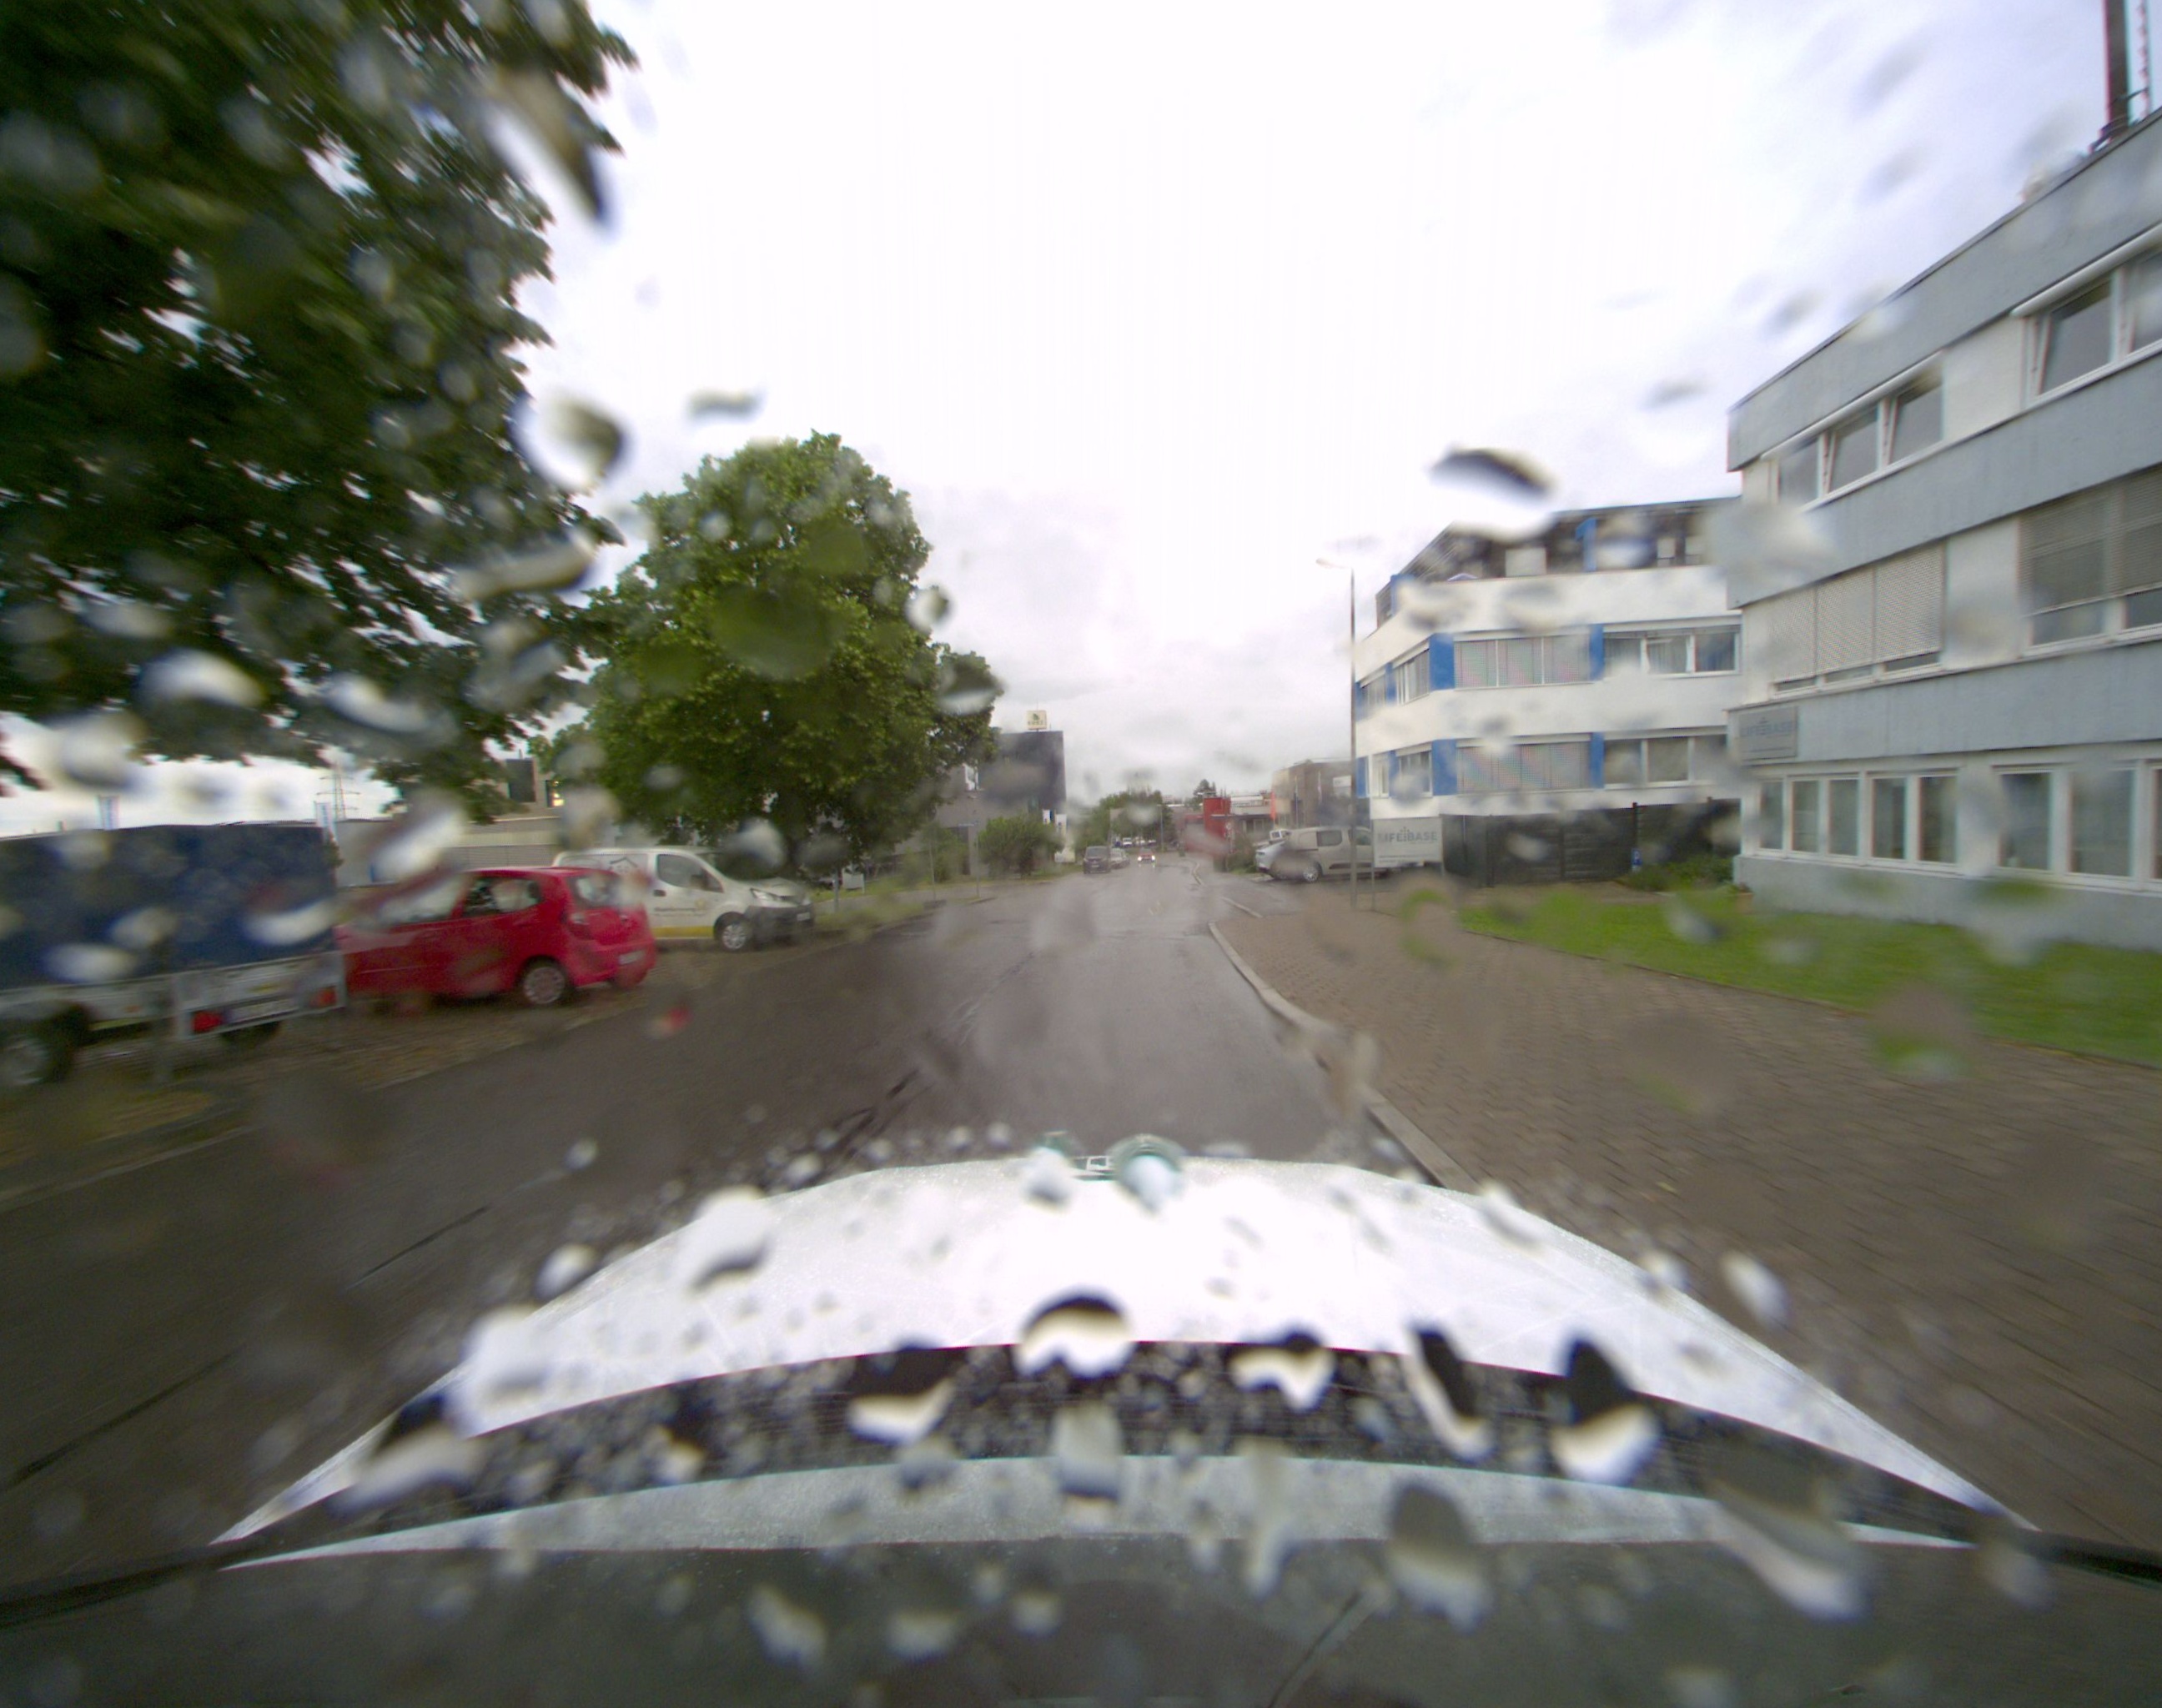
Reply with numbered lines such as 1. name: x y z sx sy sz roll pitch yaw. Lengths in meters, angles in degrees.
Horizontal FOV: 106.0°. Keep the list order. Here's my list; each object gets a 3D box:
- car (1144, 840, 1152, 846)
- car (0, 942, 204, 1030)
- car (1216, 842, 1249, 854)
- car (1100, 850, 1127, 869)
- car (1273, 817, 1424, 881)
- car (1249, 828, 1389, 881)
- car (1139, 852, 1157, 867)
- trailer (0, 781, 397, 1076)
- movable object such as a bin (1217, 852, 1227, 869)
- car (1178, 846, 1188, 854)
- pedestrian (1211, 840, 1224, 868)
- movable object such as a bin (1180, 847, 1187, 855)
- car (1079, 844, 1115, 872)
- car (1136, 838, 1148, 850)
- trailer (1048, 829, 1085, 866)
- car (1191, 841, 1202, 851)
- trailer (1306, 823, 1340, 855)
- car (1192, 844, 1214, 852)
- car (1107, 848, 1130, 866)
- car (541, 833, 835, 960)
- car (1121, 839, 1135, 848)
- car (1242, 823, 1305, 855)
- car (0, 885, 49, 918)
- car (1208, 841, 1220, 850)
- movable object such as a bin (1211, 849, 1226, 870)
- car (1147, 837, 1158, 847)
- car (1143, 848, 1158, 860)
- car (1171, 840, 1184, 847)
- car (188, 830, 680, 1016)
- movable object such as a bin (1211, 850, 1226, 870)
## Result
1. car: 15.627 -2.552 189.723 1.394 1.326 2.700 -3 0 -1
2. car: -22.890 2.973 18.490 1.543 1.446 3.730 -3 0 30
3. car: 19.095 -0.779 102.640 3.876 1.383 1.823 -1 0 5
4. car: 2.864 0.419 71.167 1.946 1.461 5.257 -3 0 6
5. car: 8.759 -0.169 26.984 4.321 1.773 2.091 -3 0 4
6. car: 8.678 0.008 30.095 4.574 1.538 2.082 -5 0 5
7. car: 7.400 0.629 90.408 1.740 1.508 3.938 -5 -1 3
8. trailer: -8.404 0.603 6.608 4.195 1.984 1.775 -3 -1 3
9. movable object such as a bin: 7.920 0.358 45.697 0.469 0.967 0.515 -3 0 7
10. car: 18.528 -0.704 147.646 1.689 1.475 4.006 -3 0 6
11. pedestrian: 8.798 0.003 52.457 0.732 1.767 0.810 -3 0 7
12. movable object such as a bin: 13.575 -0.388 107.482 0.804 1.092 0.709 -4 0 1
13. car: 1.155 0.244 56.594 1.905 1.831 4.858 -3 0 7
14. car: 13.685 -2.180 183.262 2.187 2.459 3.996 -3 0 -2
15. trailer: -1.791 -0.765 99.986 4.134 4.203 2.018 -4 0 44
16. car: 20.945 -1.516 148.154 1.730 1.653 4.006 -3 0 6
17. trailer: 19.546 -1.212 65.848 1.876 2.416 4.318 -3 1 7
18. car: 19.435 -0.948 129.682 3.382 1.163 1.796 -3 1 7
19. car: 3.593 0.279 77.515 1.948 1.577 4.846 -4 0 5
20. car: -6.854 0.723 14.439 4.275 1.906 1.866 -3 -1 8
21. car: 10.645 -2.346 183.101 2.265 2.013 3.987 -3 0 -10
22. car: 18.010 -1.361 76.397 5.273 2.013 2.225 -11 -1 5
23. car: -67.443 2.968 51.134 4.659 1.854 2.295 -1 2 27
24. car: 24.010 -1.516 147.028 1.720 1.422 4.006 -3 0 6
25. movable object such as a bin: 7.585 0.302 44.857 0.739 1.066 0.638 -3 0 7
26. car: 16.173 -2.641 184.041 2.139 2.013 3.938 -3 0 -1
27. car: 10.710 0.054 125.929 1.948 1.675 4.475 -3 -1 2
28. car: 20.077 -2.227 169.792 2.539 1.352 1.242 -3 0 0
29. car: -7.212 0.723 9.415 4.182 1.721 1.755 -3 -1 0
30. movable object such as a bin: 7.454 0.302 44.130 0.767 1.030 0.810 -3 0 7
